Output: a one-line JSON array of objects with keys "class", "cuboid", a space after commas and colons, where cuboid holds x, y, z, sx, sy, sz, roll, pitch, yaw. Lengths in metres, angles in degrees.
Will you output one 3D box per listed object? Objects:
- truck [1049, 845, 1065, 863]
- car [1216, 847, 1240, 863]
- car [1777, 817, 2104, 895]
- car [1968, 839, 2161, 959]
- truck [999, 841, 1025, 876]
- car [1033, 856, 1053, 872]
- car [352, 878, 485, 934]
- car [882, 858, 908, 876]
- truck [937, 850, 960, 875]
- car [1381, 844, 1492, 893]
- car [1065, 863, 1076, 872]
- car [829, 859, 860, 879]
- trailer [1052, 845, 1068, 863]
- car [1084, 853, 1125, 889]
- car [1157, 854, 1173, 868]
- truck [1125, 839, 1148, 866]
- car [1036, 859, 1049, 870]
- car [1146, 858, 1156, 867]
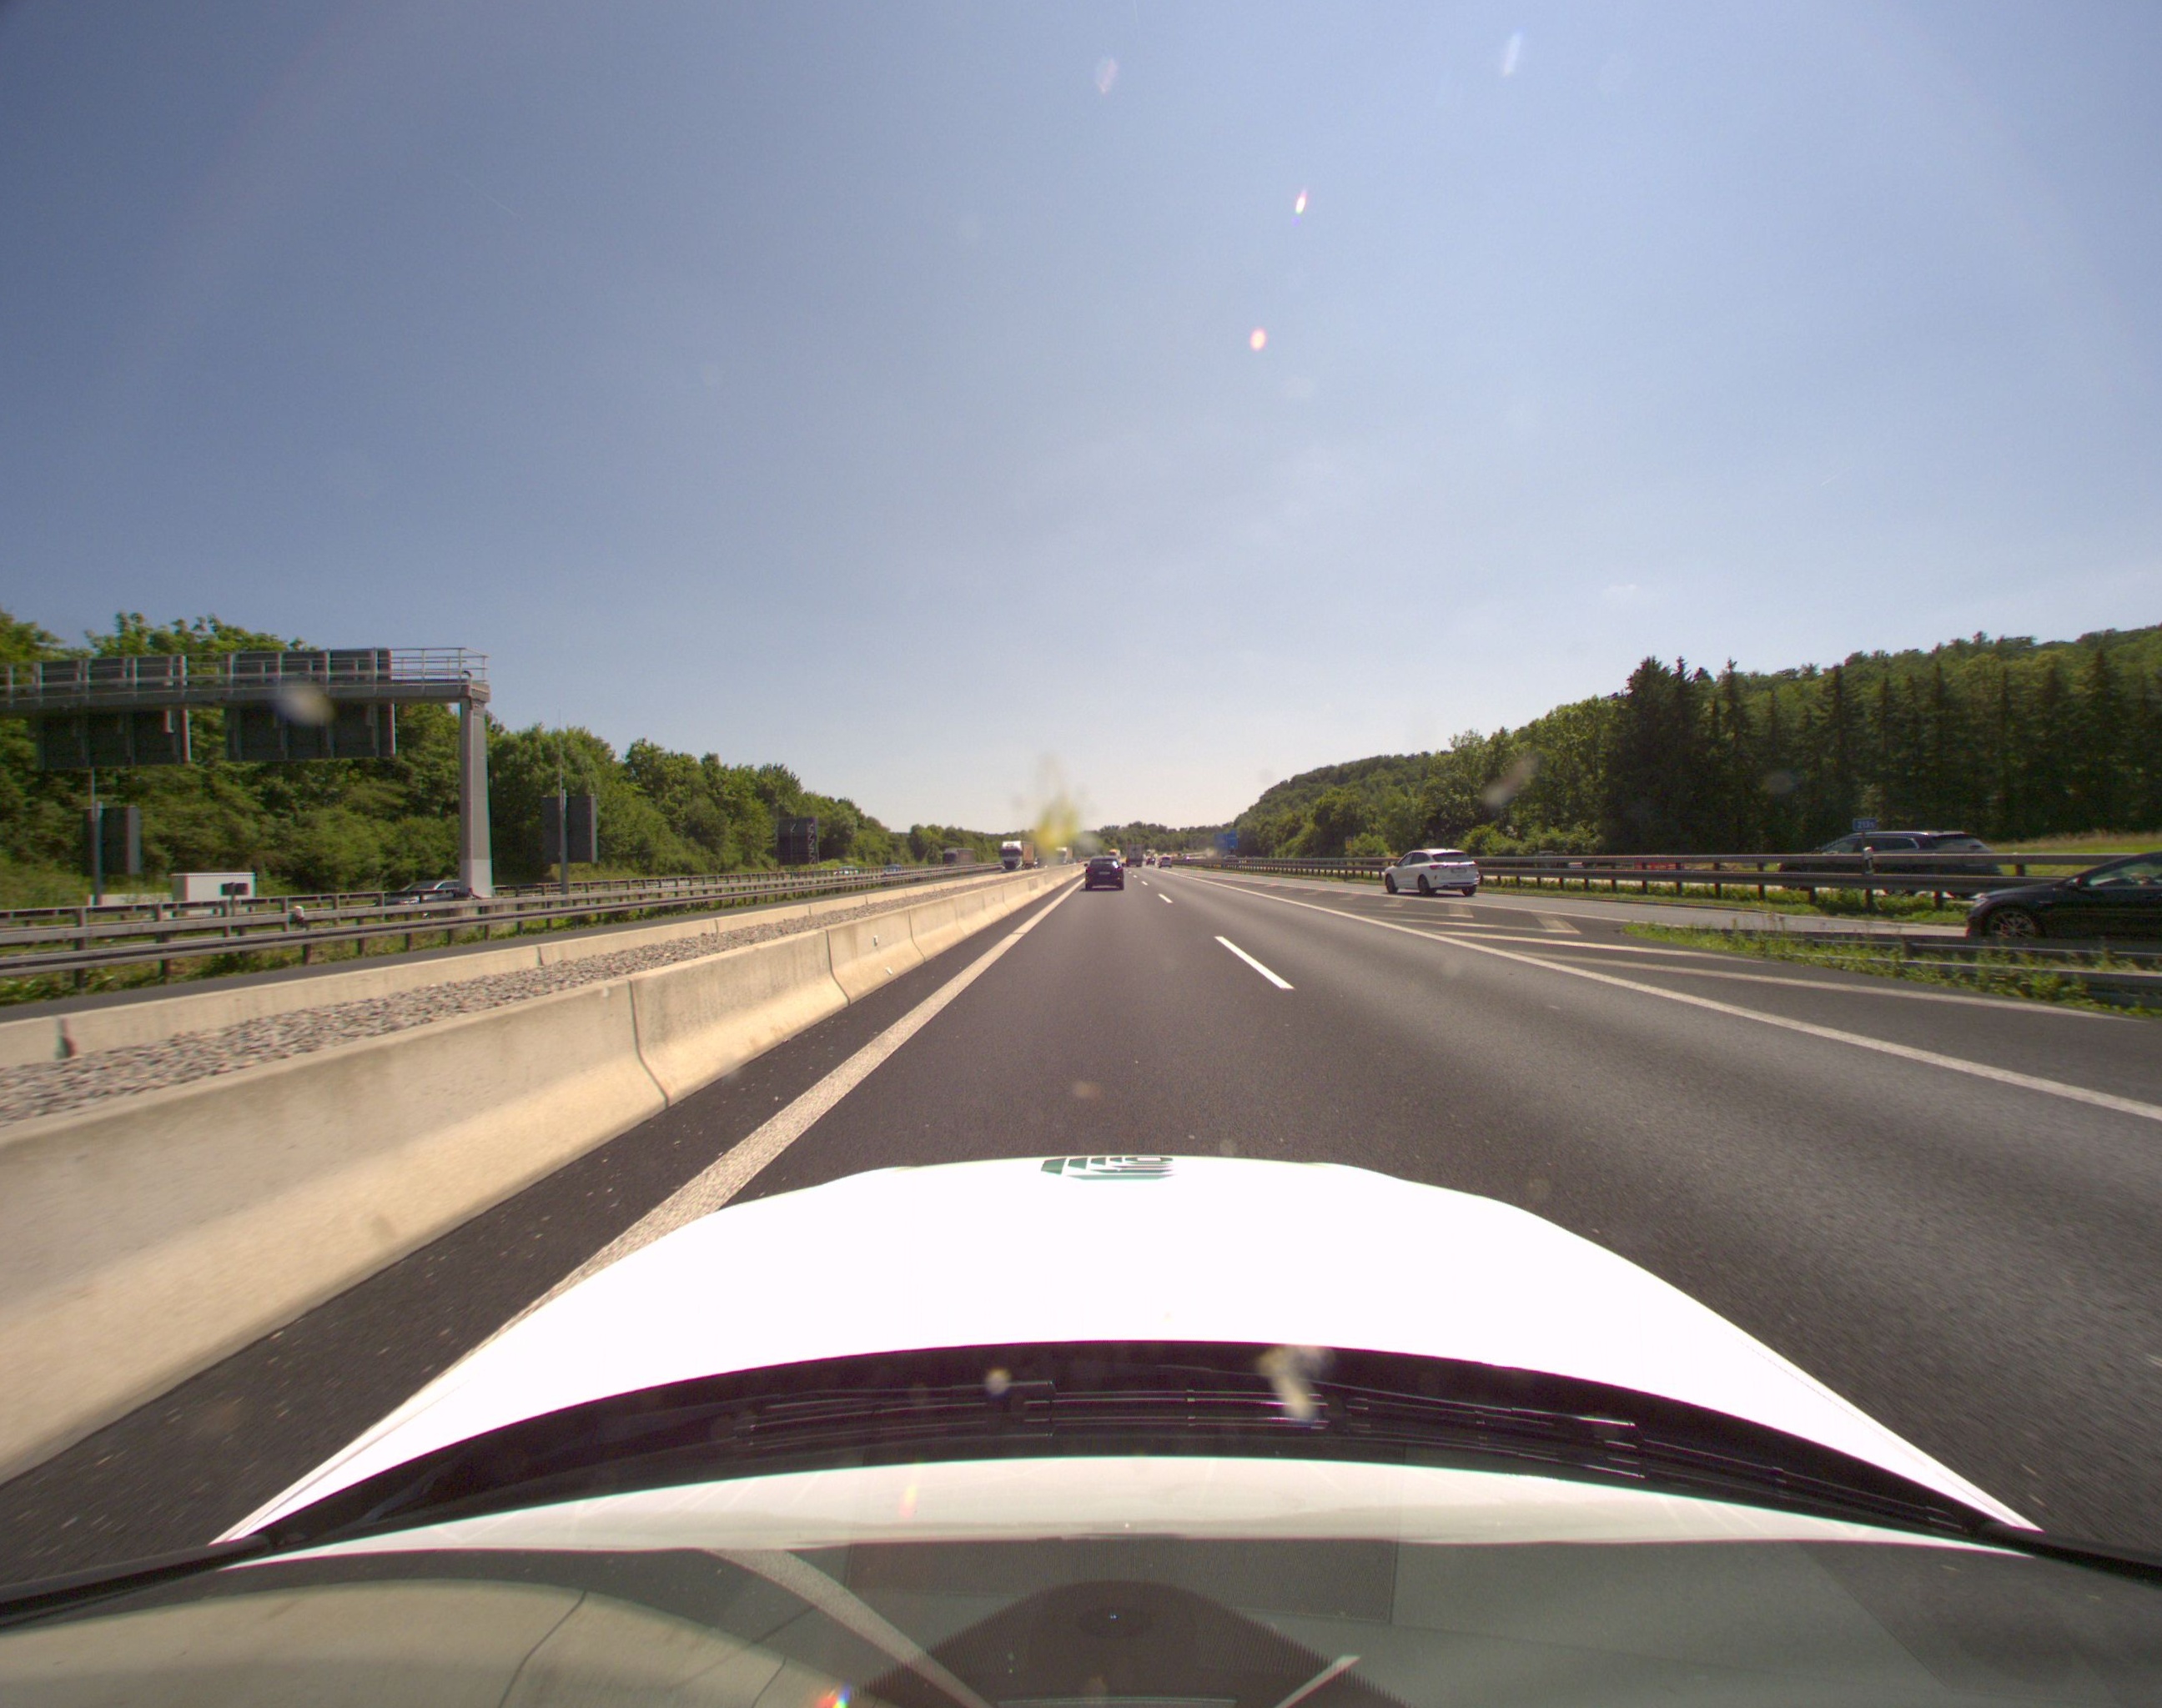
[{"class": "truck", "cuboid": [-5.332, -0.049, 183.207, 2.916, 3.973, 5.903, 0, -1, 3]}, {"class": "car", "cuboid": [19.142, 0.155, 105.988, 1.990, 2.013, 3.993, -3, -1, -5]}, {"class": "car", "cuboid": [20.803, 0.078, 20.233, 1.990, 1.662, 5.618, 0, -1, -4]}, {"class": "car", "cuboid": [13.743, 0.533, 9.750, 1.791, 1.435, 3.959, 0, -1, -5]}, {"class": "truck", "cuboid": [-8.756, 0.617, 103.587, 2.696, 4.288, 4.554, 0, -1, 1]}, {"class": "car", "cuboid": [-4.791, 1.250, 103.404, 1.911, 2.013, 5.349, -2, 0, 2]}, {"class": "car", "cuboid": [-26.623, 2.034, 32.920, 1.986, 2.014, 4.001, 0, -1, 1]}, {"class": "car", "cuboid": [-20.535, 1.441, 90.106, 1.988, 2.014, 3.998, 0, -1, -1]}, {"class": "truck", "cuboid": [-22.935, 1.427, 141.169, 2.797, 4.272, 5.003, 0, -1, 4]}, {"class": "car", "cuboid": [12.793, 0.510, 29.673, 1.988, 1.662, 4.464, 0, -1, -2]}, {"class": "car", "cuboid": [-2.126, 2.651, 161.920, 1.977, 1.826, 4.826, 0, -1, 1]}, {"class": "car", "cuboid": [-24.695, 1.517, 85.125, 1.985, 2.014, 4.002, 0, -1, 2]}, {"class": "trailer", "cuboid": [-4.890, 0.103, 191.646, 2.898, 4.045, 12.070, 0, -1, 2]}, {"class": "car", "cuboid": [1.079, 0.792, 39.033, 1.774, 1.577, 3.998, 2, -1, -1]}, {"class": "car", "cuboid": [12.681, 1.104, 123.408, 1.987, 2.013, 4.000, -3, -1, 0]}, {"class": "truck", "cuboid": [9.589, -0.252, 139.655, 3.015, 4.418, 12.044, 0, -1, 8]}, {"class": "car", "cuboid": [-6.680, 1.779, 140.598, 1.734, 1.826, 4.907, 0, -1, 3]}, {"class": "car", "cuboid": [15.145, 1.880, 175.295, 1.986, 2.014, 4.002, 0, -1, 2]}]
